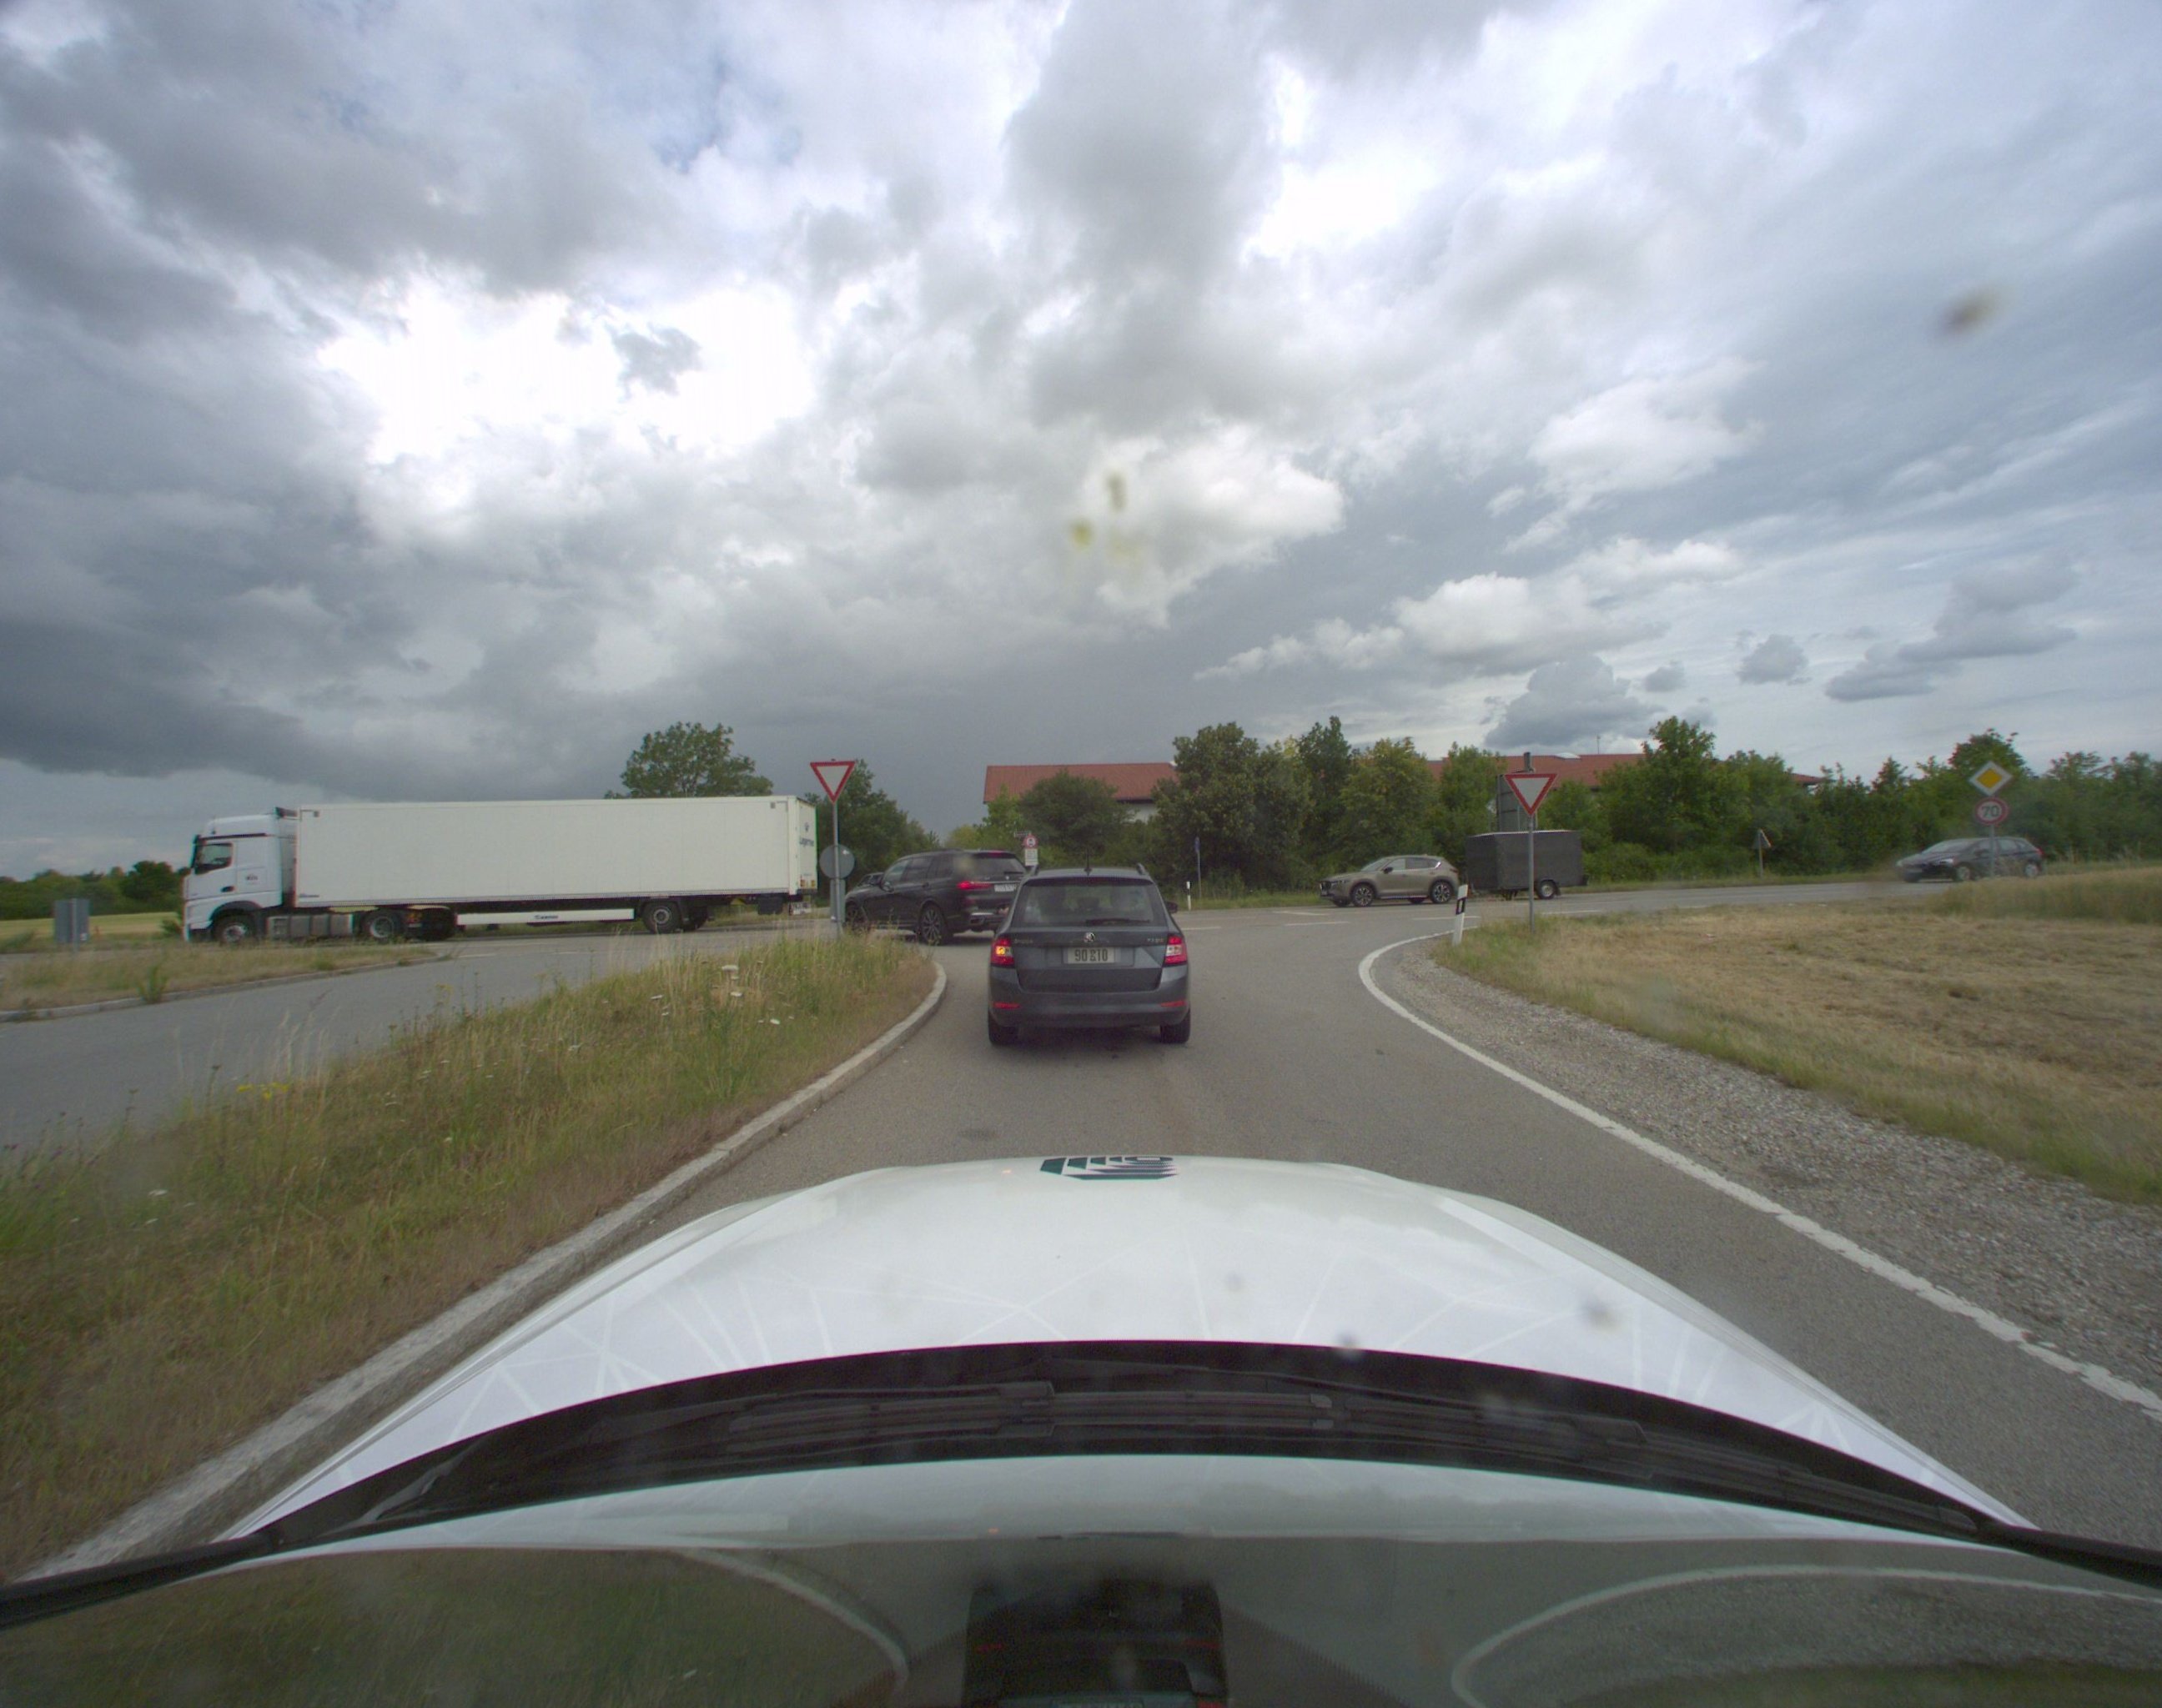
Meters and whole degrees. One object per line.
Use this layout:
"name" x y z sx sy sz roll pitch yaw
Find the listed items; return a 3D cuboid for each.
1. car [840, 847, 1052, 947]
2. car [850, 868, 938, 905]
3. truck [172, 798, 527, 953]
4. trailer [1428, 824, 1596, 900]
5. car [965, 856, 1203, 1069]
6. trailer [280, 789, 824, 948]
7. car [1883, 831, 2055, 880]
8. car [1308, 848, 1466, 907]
"car" -2.909 0.839 16.777 2.011 1.774 4.586 0 -2 -44
"car" -11.252 1.972 48.954 4.851 2.013 2.357 -3 0 34
"truck" -21.214 0.600 24.092 7.274 4.015 3.122 -2 -2 -6
"trailer" 14.575 0.279 27.703 4.378 2.292 2.411 -2 -2 -8
"car" -0.006 0.781 7.681 1.671 1.462 3.706 -1 0 -1
"trailer" -15.311 0.399 24.726 13.824 4.015 3.122 -2 -2 -6
"car" 31.807 0.078 29.254 4.282 1.487 1.995 -3 -1 -7
"car" 10.104 0.778 27.098 4.462 1.682 1.994 -2 -2 -9
